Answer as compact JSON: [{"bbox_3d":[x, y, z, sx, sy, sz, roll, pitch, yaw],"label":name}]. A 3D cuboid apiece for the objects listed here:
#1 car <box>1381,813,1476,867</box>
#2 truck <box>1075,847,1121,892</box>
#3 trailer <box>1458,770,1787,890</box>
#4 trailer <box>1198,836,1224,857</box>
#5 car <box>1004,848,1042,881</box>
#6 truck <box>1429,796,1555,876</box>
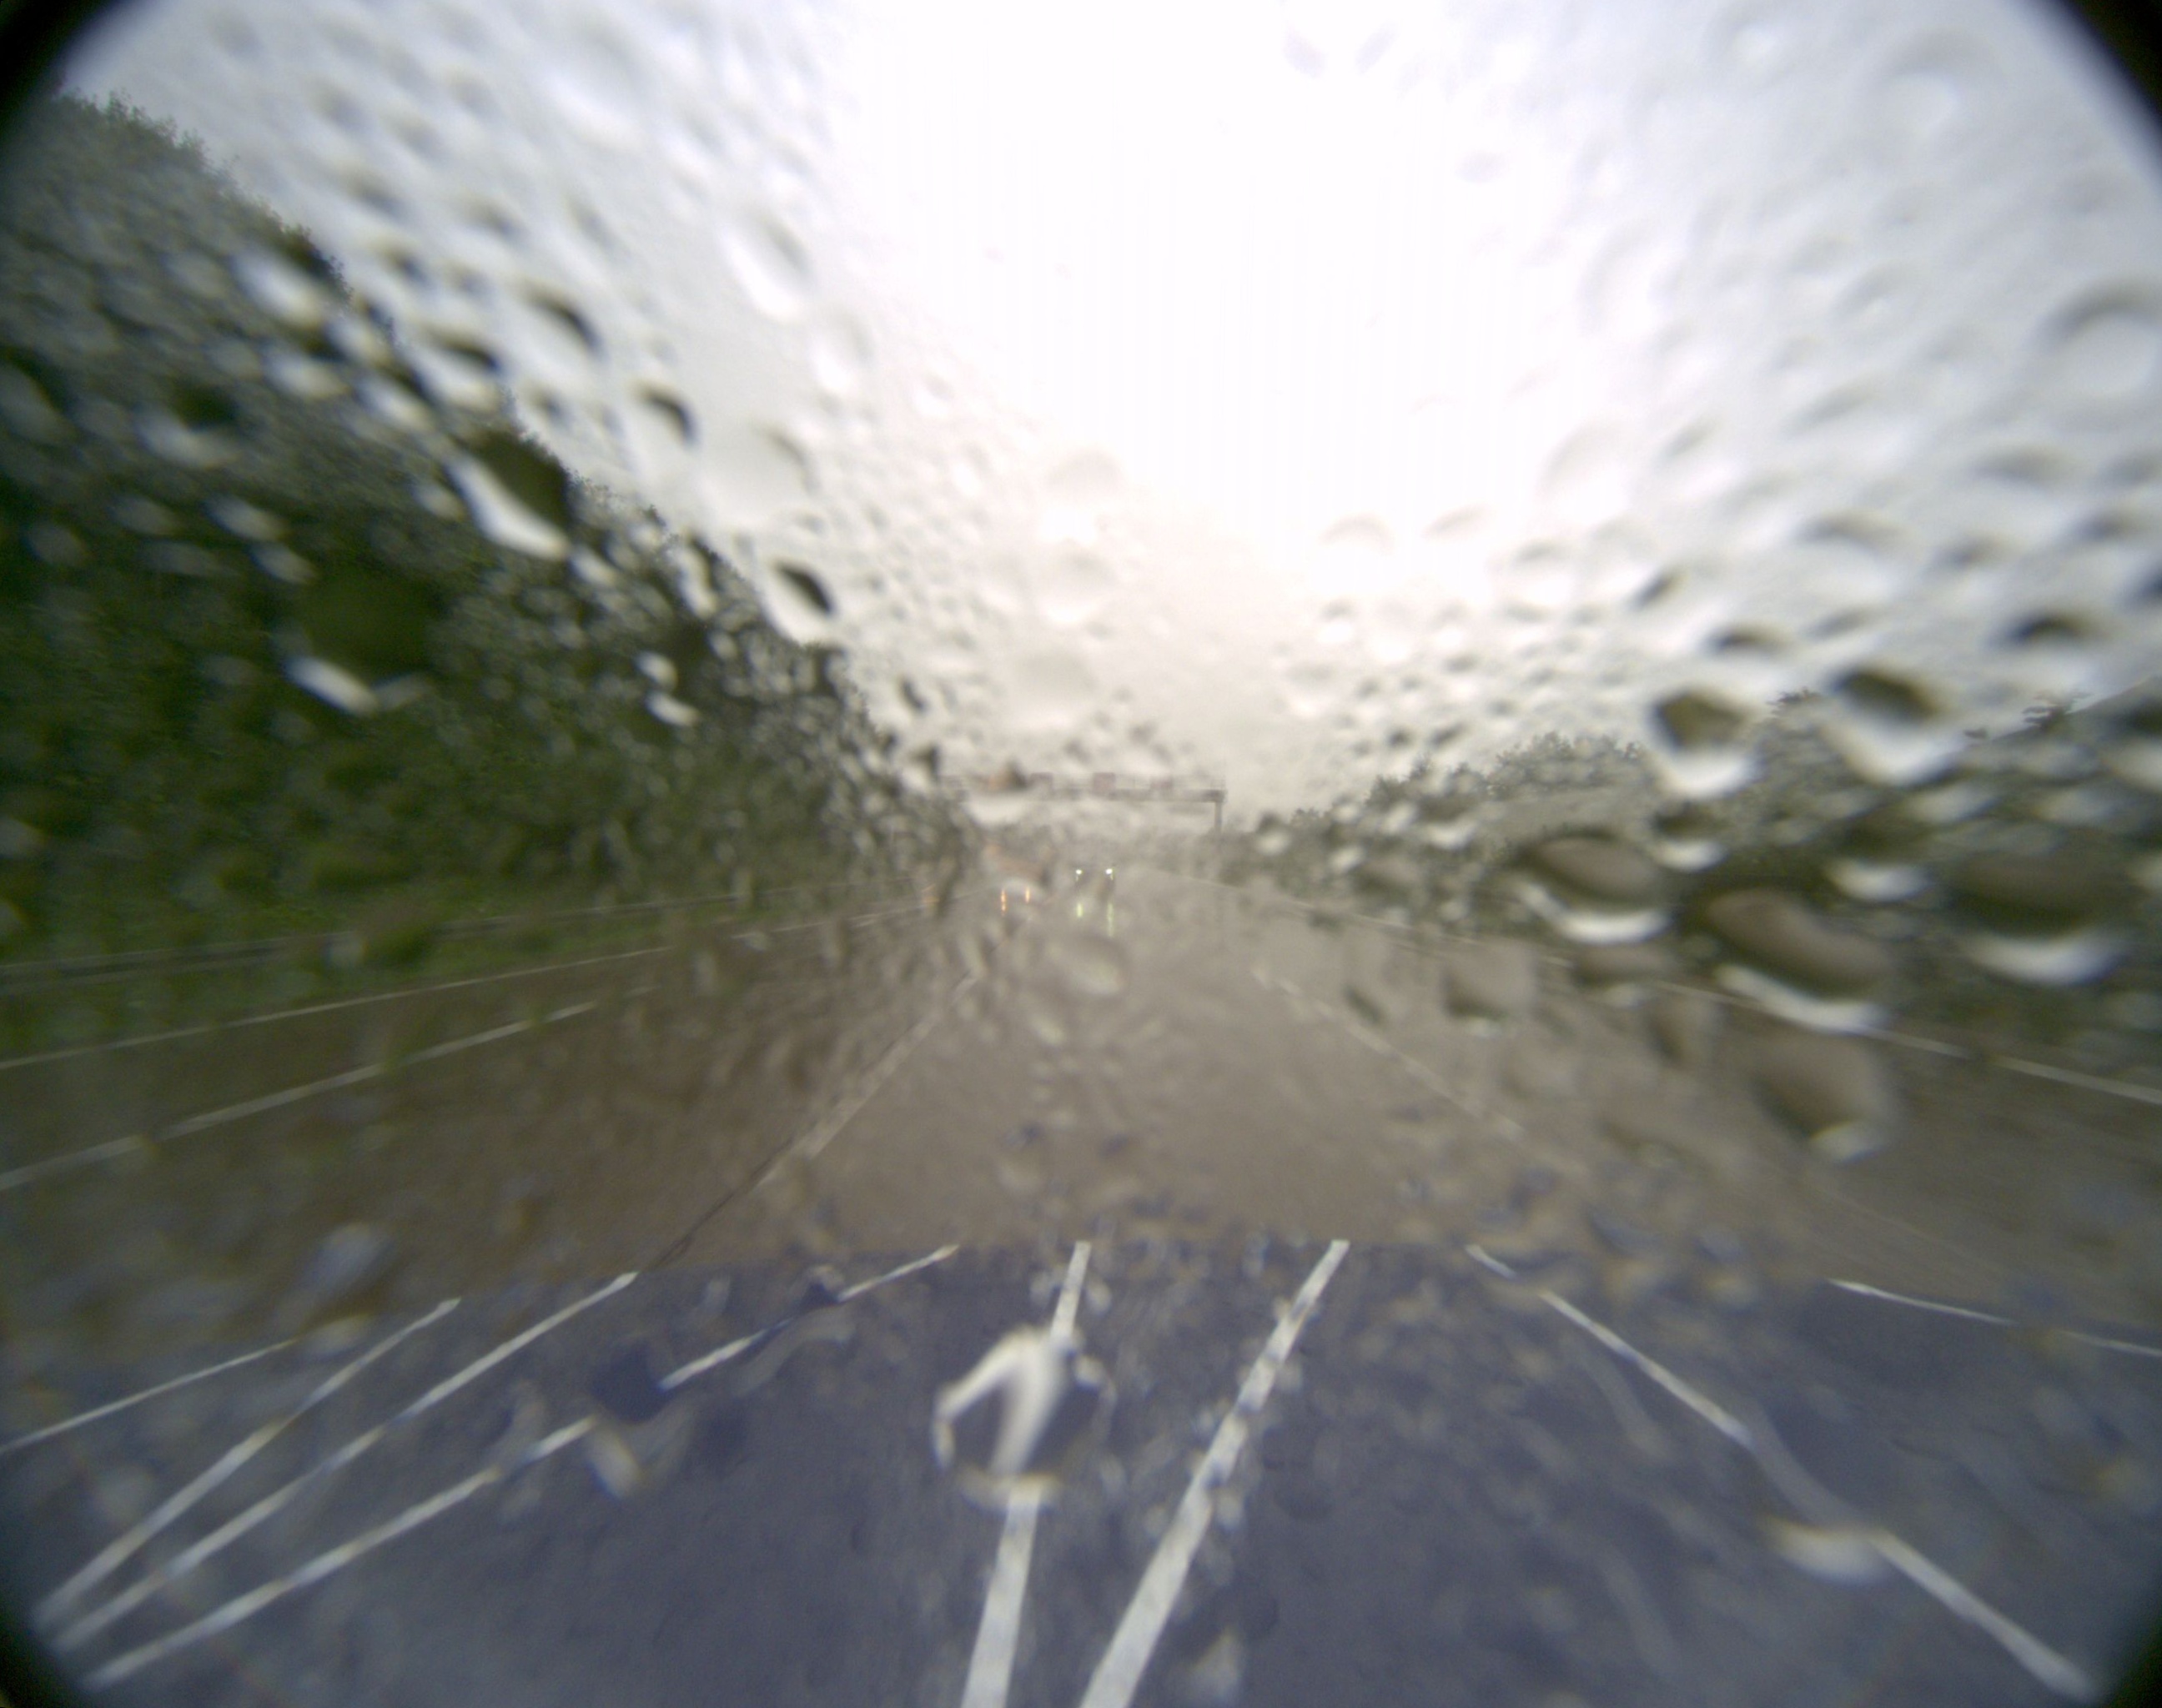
[{"bbox_3d":[22.530,-0.864,49.732,2.805,3.224,7.601,-2,0,1],"label":"car"},{"bbox_3d":[0.784,0.661,37.597,1.998,2.002,7.575,-1,0,0],"label":"truck"},{"bbox_3d":[19.746,-0.786,29.762,2.859,3.522,13.705,-2,1,-1],"label":"trailer"},{"bbox_3d":[23.829,-1.387,139.847,2.972,3.653,12.286,-2,0,1],"label":"trailer"},{"bbox_3d":[-3.721,0.666,49.202,1.859,2.002,4.001,-1,0,4],"label":"car"},{"bbox_3d":[19.612,-0.815,36.664,2.822,3.489,5.730,-2,0,-2],"label":"truck"}]
